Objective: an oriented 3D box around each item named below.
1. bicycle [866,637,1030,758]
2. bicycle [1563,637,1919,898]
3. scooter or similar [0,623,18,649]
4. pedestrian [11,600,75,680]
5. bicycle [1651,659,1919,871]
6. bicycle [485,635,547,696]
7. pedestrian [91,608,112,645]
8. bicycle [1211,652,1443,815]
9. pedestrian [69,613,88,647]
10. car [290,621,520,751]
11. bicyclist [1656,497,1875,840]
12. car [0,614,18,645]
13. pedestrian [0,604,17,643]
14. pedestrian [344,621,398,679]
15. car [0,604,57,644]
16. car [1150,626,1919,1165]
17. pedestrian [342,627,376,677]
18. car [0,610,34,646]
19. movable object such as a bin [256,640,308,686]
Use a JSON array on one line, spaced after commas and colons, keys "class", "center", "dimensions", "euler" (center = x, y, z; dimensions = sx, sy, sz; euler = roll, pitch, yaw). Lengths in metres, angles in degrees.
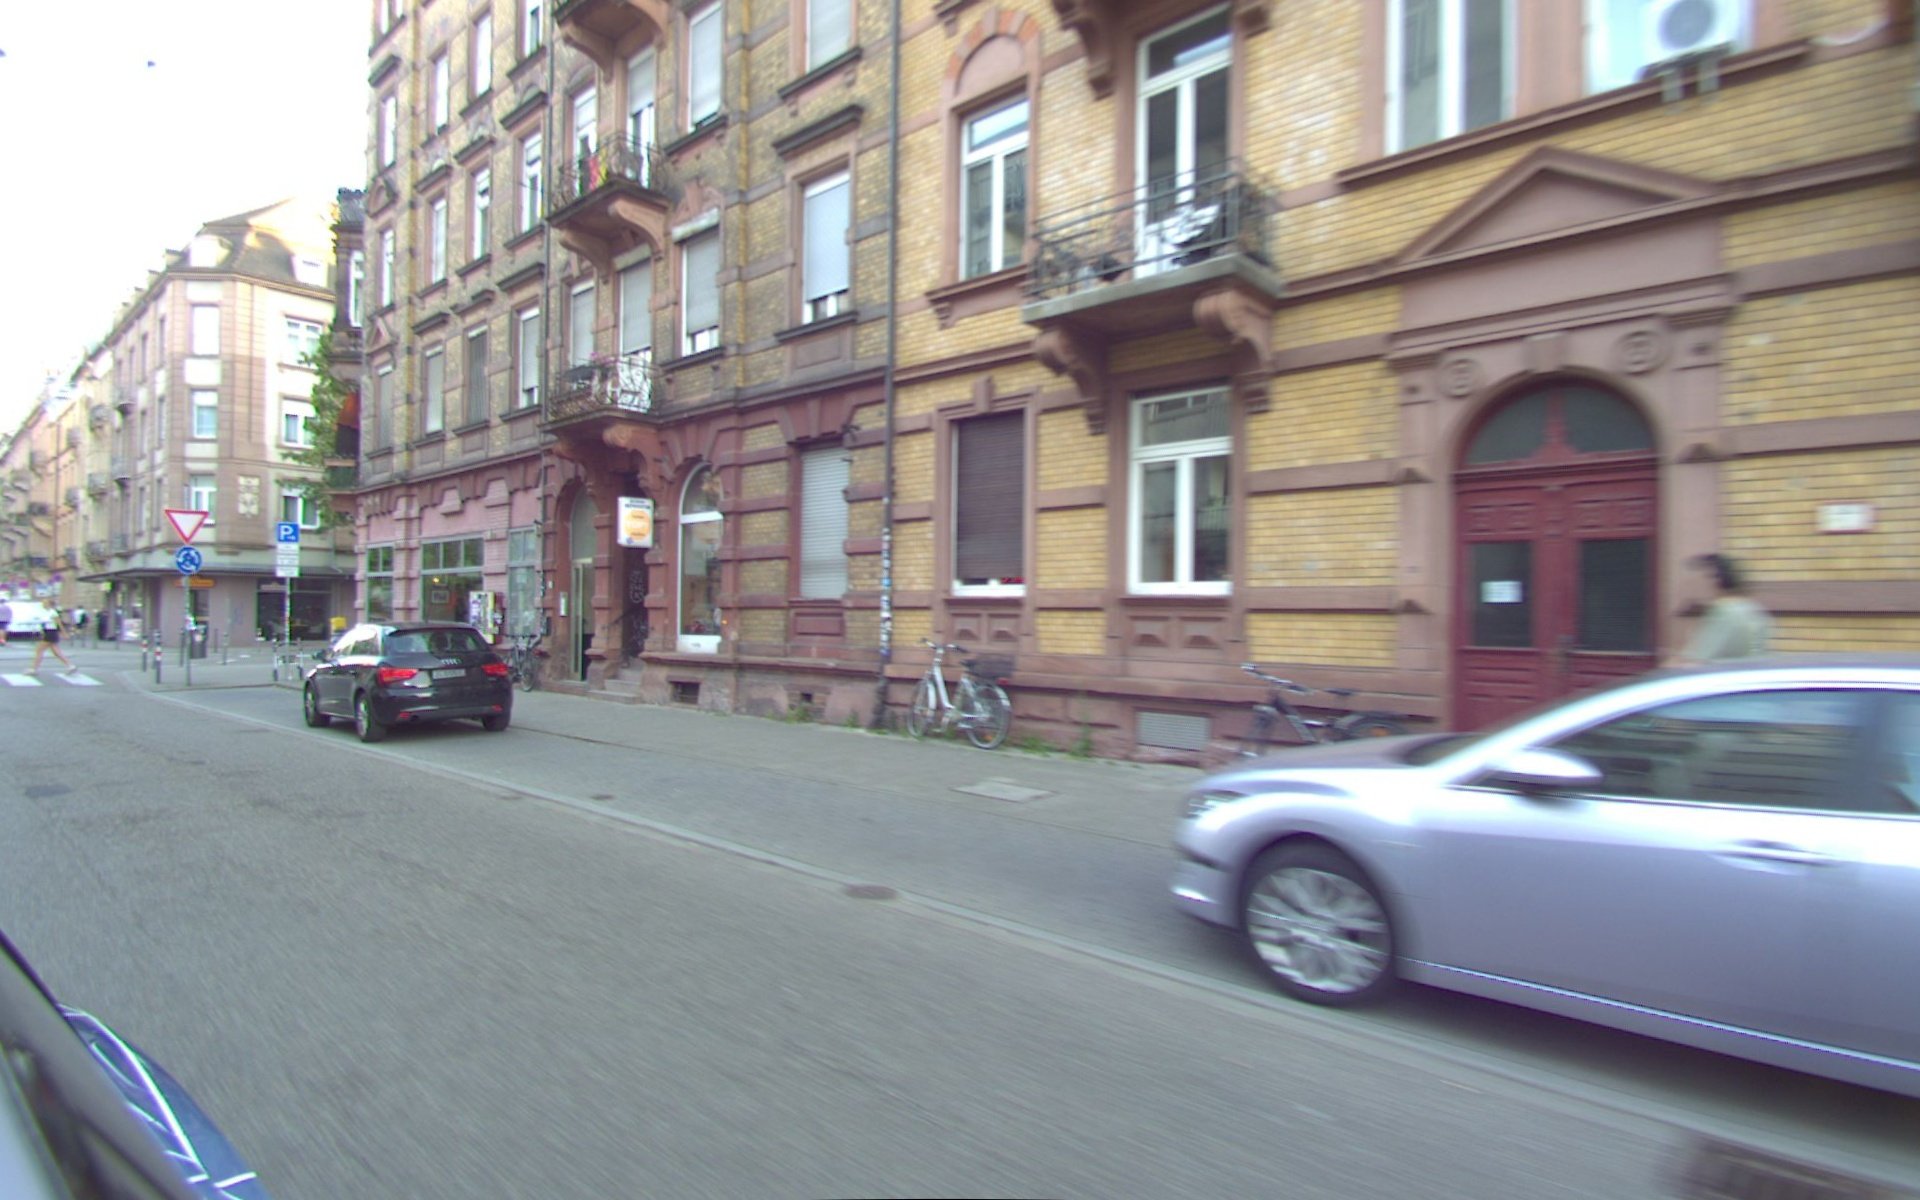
[{"class": "bicycle", "center": [-0.173, 1.026, 11.175], "dimensions": [0.521, 1.180, 2.049], "euler": [-1, 0, -44]}, {"class": "bicycle", "center": [4.488, 0.850, 5.700], "dimensions": [0.699, 1.205, 1.744], "euler": [1, 0, -41]}, {"class": "scooter or similar", "center": [-40.916, 1.531, 43.179], "dimensions": [1.169, 1.112, 0.800], "euler": [-1, -3, 34]}, {"class": "pedestrian", "center": [-21.443, 0.937, 23.685], "dimensions": [1.032, 1.825, 0.757], "euler": [0, -3, -37]}, {"class": "bicycle", "center": [5.321, 0.962, 6.158], "dimensions": [1.759, 1.132, 0.543], "euler": [-1, 0, 43]}, {"class": "bicycle", "center": [-8.261, 1.194, 18.808], "dimensions": [0.420, 1.061, 1.899], "euler": [1, -1, -44]}, {"class": "pedestrian", "center": [-41.788, 1.300, 49.255], "dimensions": [0.644, 1.792, 0.694], "euler": [0, -2, -30]}, {"class": "bicycle", "center": [2.935, 1.011, 8.150], "dimensions": [1.607, 1.132, 0.731], "euler": [-1, -1, 36]}, {"class": "pedestrian", "center": [-46.215, 1.552, 53.063], "dimensions": [0.738, 1.757, 1.214], "euler": [0, -1, -42]}, {"class": "car", "center": [-7.396, 1.005, 13.325], "dimensions": [1.674, 1.431, 3.856], "euler": [0, -1, -45]}, {"class": "bicyclist", "center": [4.518, 0.347, 5.686], "dimensions": [0.699, 1.742, 0.844], "euler": [1, 0, -41]}, {"class": "car", "center": [-58.389, 1.772, 60.987], "dimensions": [4.541, 1.835, 2.112], "euler": [-1, -1, 43]}, {"class": "pedestrian", "center": [-40.941, 0.993, 43.221], "dimensions": [0.670, 1.673, 0.800], "euler": [-1, -3, 33]}, {"class": "pedestrian", "center": [-13.579, 1.146, 23.331], "dimensions": [0.904, 1.264, 0.644], "euler": [-1, 1, 27]}, {"class": "car", "center": [-49.058, 1.223, 52.964], "dimensions": [4.767, 1.973, 2.113], "euler": [-1, -1, 41]}, {"class": "car", "center": [3.097, 0.848, 3.552], "dimensions": [4.581, 1.431, 1.704], "euler": [0, 0, 43]}, {"class": "pedestrian", "center": [-14.315, 1.227, 24.117], "dimensions": [0.791, 1.152, 0.498], "euler": [1, 0, 44]}, {"class": "car", "center": [-53.640, 1.552, 57.041], "dimensions": [4.327, 1.918, 1.854], "euler": [-1, -1, 43]}, {"class": "movable object such as a bin", "center": [-14.734, 1.361, 22.004], "dimensions": [0.729, 0.922, 0.754], "euler": [1, 0, 39]}]
